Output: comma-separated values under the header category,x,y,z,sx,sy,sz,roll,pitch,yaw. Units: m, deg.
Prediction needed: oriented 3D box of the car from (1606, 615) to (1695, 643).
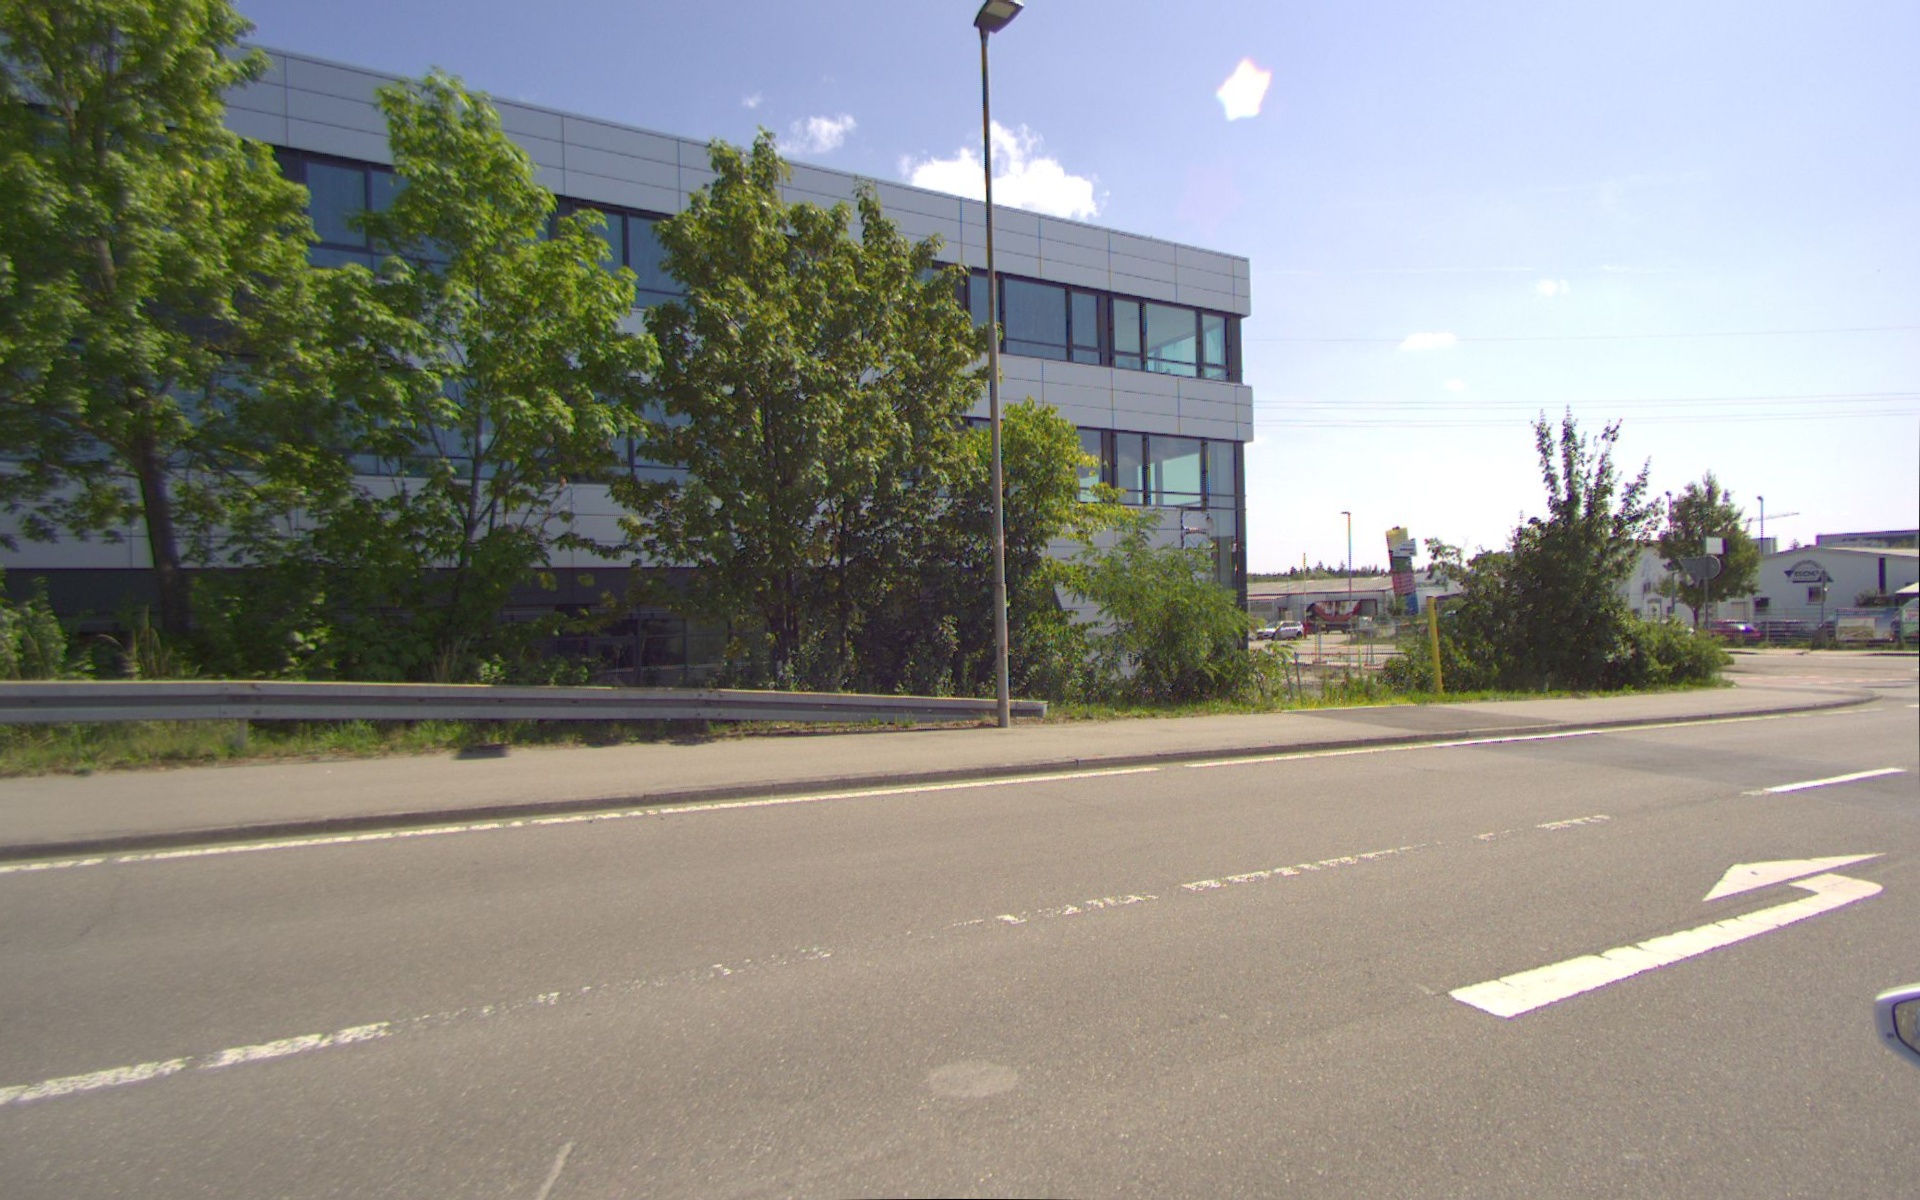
category,x,y,z,sx,sy,sz,roll,pitch,yaw
car,35.126,1.464,51.245,1.692,1.356,3.930,0,-1,-4

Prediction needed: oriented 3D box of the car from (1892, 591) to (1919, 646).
category,x,y,z,sx,sy,sz,roll,pitch,yaw
car,46.957,0.877,47.363,1.961,2.643,4.365,0,-1,0

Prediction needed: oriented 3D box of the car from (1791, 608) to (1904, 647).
category,x,y,z,sx,sy,sz,roll,pitch,yaw
car,42.290,1.283,47.997,1.960,1.702,4.001,-1,0,2

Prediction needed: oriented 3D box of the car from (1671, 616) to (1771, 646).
category,x,y,z,sx,sy,sz,roll,pitch,yaw
car,37.435,1.486,49.529,1.960,1.394,4.001,0,-1,2

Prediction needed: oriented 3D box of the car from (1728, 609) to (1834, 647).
category,x,y,z,sx,sy,sz,roll,pitch,yaw
car,39.731,1.316,48.745,1.960,1.676,4.001,-1,0,2
